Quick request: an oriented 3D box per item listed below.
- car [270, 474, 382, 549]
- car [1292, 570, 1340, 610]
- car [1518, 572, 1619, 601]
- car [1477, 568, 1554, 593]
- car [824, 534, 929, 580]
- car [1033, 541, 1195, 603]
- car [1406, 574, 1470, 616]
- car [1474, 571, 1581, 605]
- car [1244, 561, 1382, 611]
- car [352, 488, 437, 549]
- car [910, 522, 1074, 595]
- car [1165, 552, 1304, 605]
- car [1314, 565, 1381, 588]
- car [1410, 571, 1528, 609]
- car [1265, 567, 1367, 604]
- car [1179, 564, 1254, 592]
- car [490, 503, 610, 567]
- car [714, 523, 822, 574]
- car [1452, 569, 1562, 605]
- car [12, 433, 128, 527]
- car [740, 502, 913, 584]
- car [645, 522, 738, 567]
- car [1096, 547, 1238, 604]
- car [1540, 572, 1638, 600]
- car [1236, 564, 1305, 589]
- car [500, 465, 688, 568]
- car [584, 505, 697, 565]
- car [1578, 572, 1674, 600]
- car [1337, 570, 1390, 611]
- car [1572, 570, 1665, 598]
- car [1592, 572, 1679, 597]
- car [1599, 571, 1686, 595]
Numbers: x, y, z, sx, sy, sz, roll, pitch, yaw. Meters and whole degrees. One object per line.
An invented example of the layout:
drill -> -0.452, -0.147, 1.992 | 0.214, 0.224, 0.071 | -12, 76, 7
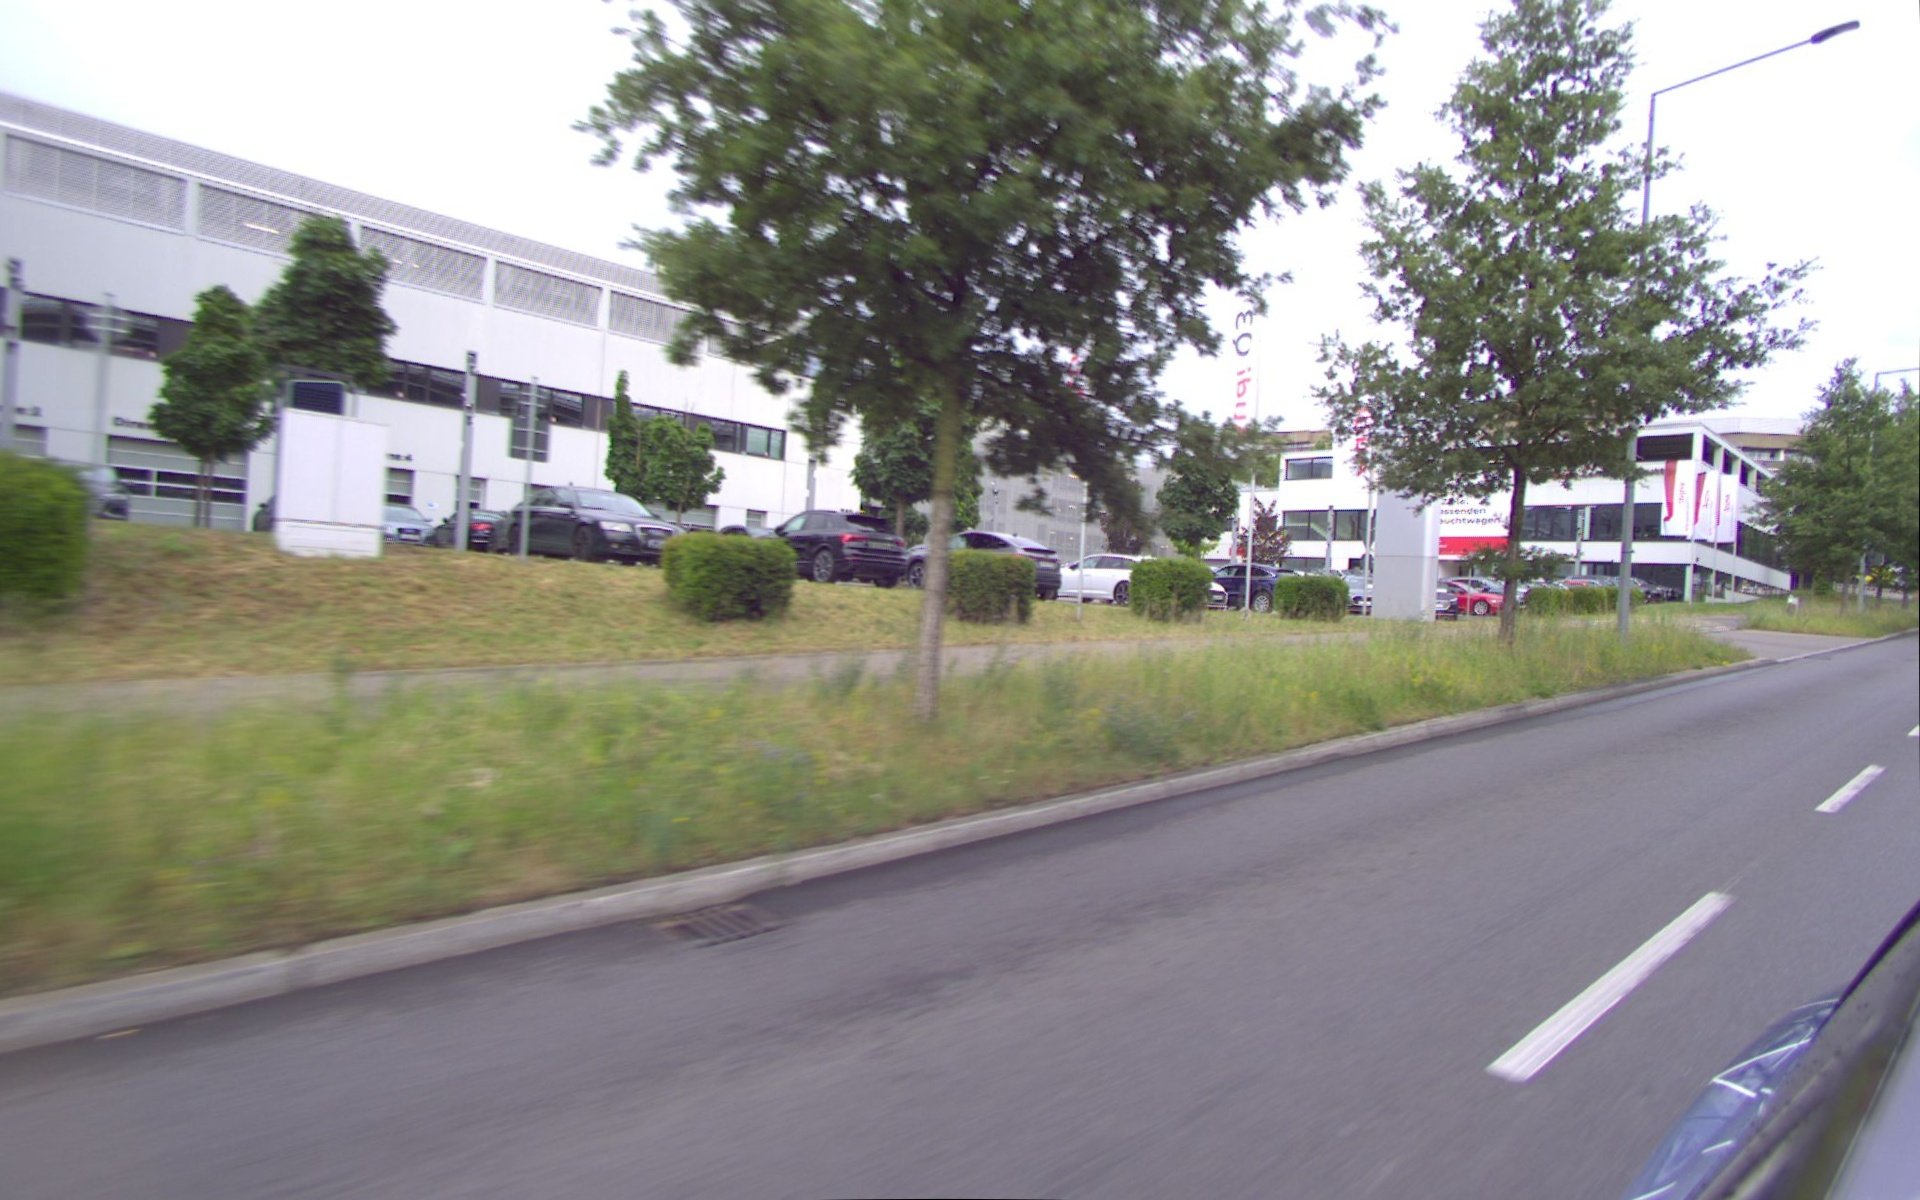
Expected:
car -> -15.765, -2.114, 25.072 | 1.663, 1.594, 4.111 | 1, 1, -42
car -> 16.337, -0.506, 46.579 | 1.748, 1.612, 3.974 | 4, 3, 16
car -> 33.951, -0.777, 56.508 | 1.898, 1.473, 4.469 | -1, 3, -42
car -> 37.985, -1.339, 69.303 | 1.796, 1.570, 4.282 | -1, 3, -43
car -> -3.114, -1.546, 37.075 | 1.663, 1.594, 4.111 | 0, 1, -42
car -> 4.259, -0.817, 28.631 | 1.664, 1.613, 4.527 | -1, 3, -42
car -> 20.288, -0.278, 43.143 | 1.813, 1.613, 4.338 | 1, 2, 17
car -> 29.566, -0.654, 52.818 | 1.898, 1.547, 4.469 | -1, 4, -42
car -> 12.118, -0.535, 34.829 | 4.101, 1.613, 1.920 | 2, 3, 41
car -> -17.187, -2.449, 30.691 | 1.665, 1.613, 3.561 | 3, 2, -38
car -> 0.718, -0.994, 25.087 | 1.663, 1.629, 4.111 | 1, 0, -42
car -> 9.081, -0.706, 33.708 | 1.839, 1.614, 4.111 | 2, 0, -42
car -> 28.823, -1.747, 75.386 | 1.796, 1.613, 4.282 | -1, 3, -43
car -> 23.369, -0.491, 46.576 | 4.463, 1.570, 1.901 | 3, 3, 44
car -> 18.005, -0.781, 51.349 | 4.465, 1.569, 1.901 | 6, 5, 44
car -> 16.166, -1.419, 63.881 | 1.796, 1.613, 4.282 | -1, 3, -43
car -> -11.464, -1.741, 28.161 | 1.794, 1.594, 4.111 | 1, 1, -42
car -> -6.475, -1.708, 33.841 | 1.664, 1.593, 4.112 | -1, 3, -42
car -> 27.421, -0.682, 50.817 | 1.898, 1.569, 4.469 | -1, 4, -42
car -> -19.183, -2.489, 21.832 | 1.729, 1.594, 4.111 | 1, 1, -42
car -> -2.975, -1.171, 21.946 | 1.663, 1.594, 4.111 | 1, 1, -42
car -> -10.180, -2.078, 38.215 | 1.664, 1.593, 4.111 | 0, 2, -43
car -> 6.127, -0.746, 30.374 | 1.661, 1.614, 4.117 | -1, 2, -37
car -> 36.427, -0.862, 58.685 | 1.898, 1.364, 4.406 | -2, 5, -42
car -> 21.715, -1.675, 70.854 | 1.796, 1.613, 4.282 | -1, 3, -43
car -> -6.733, -1.397, 18.350 | 1.663, 1.594, 4.427 | 1, 1, -42
car -> -9.660, -1.920, 30.413 | 1.663, 1.594, 4.112 | 1, 1, -42
car -> 39.212, -0.871, 59.654 | 1.858, 1.444, 4.406 | -1, 4, -41
car -> 17.826, -0.476, 44.852 | 1.748, 1.612, 3.545 | 4, 3, 16
car -> 40.628, -0.996, 62.512 | 2.005, 1.519, 4.406 | -1, 4, -41
car -> 42.887, -1.001, 64.306 | 1.806, 1.395, 4.324 | -1, 4, -43
car -> 44.927, -1.145, 66.681 | 1.898, 1.500, 4.405 | -1, 3, -42
